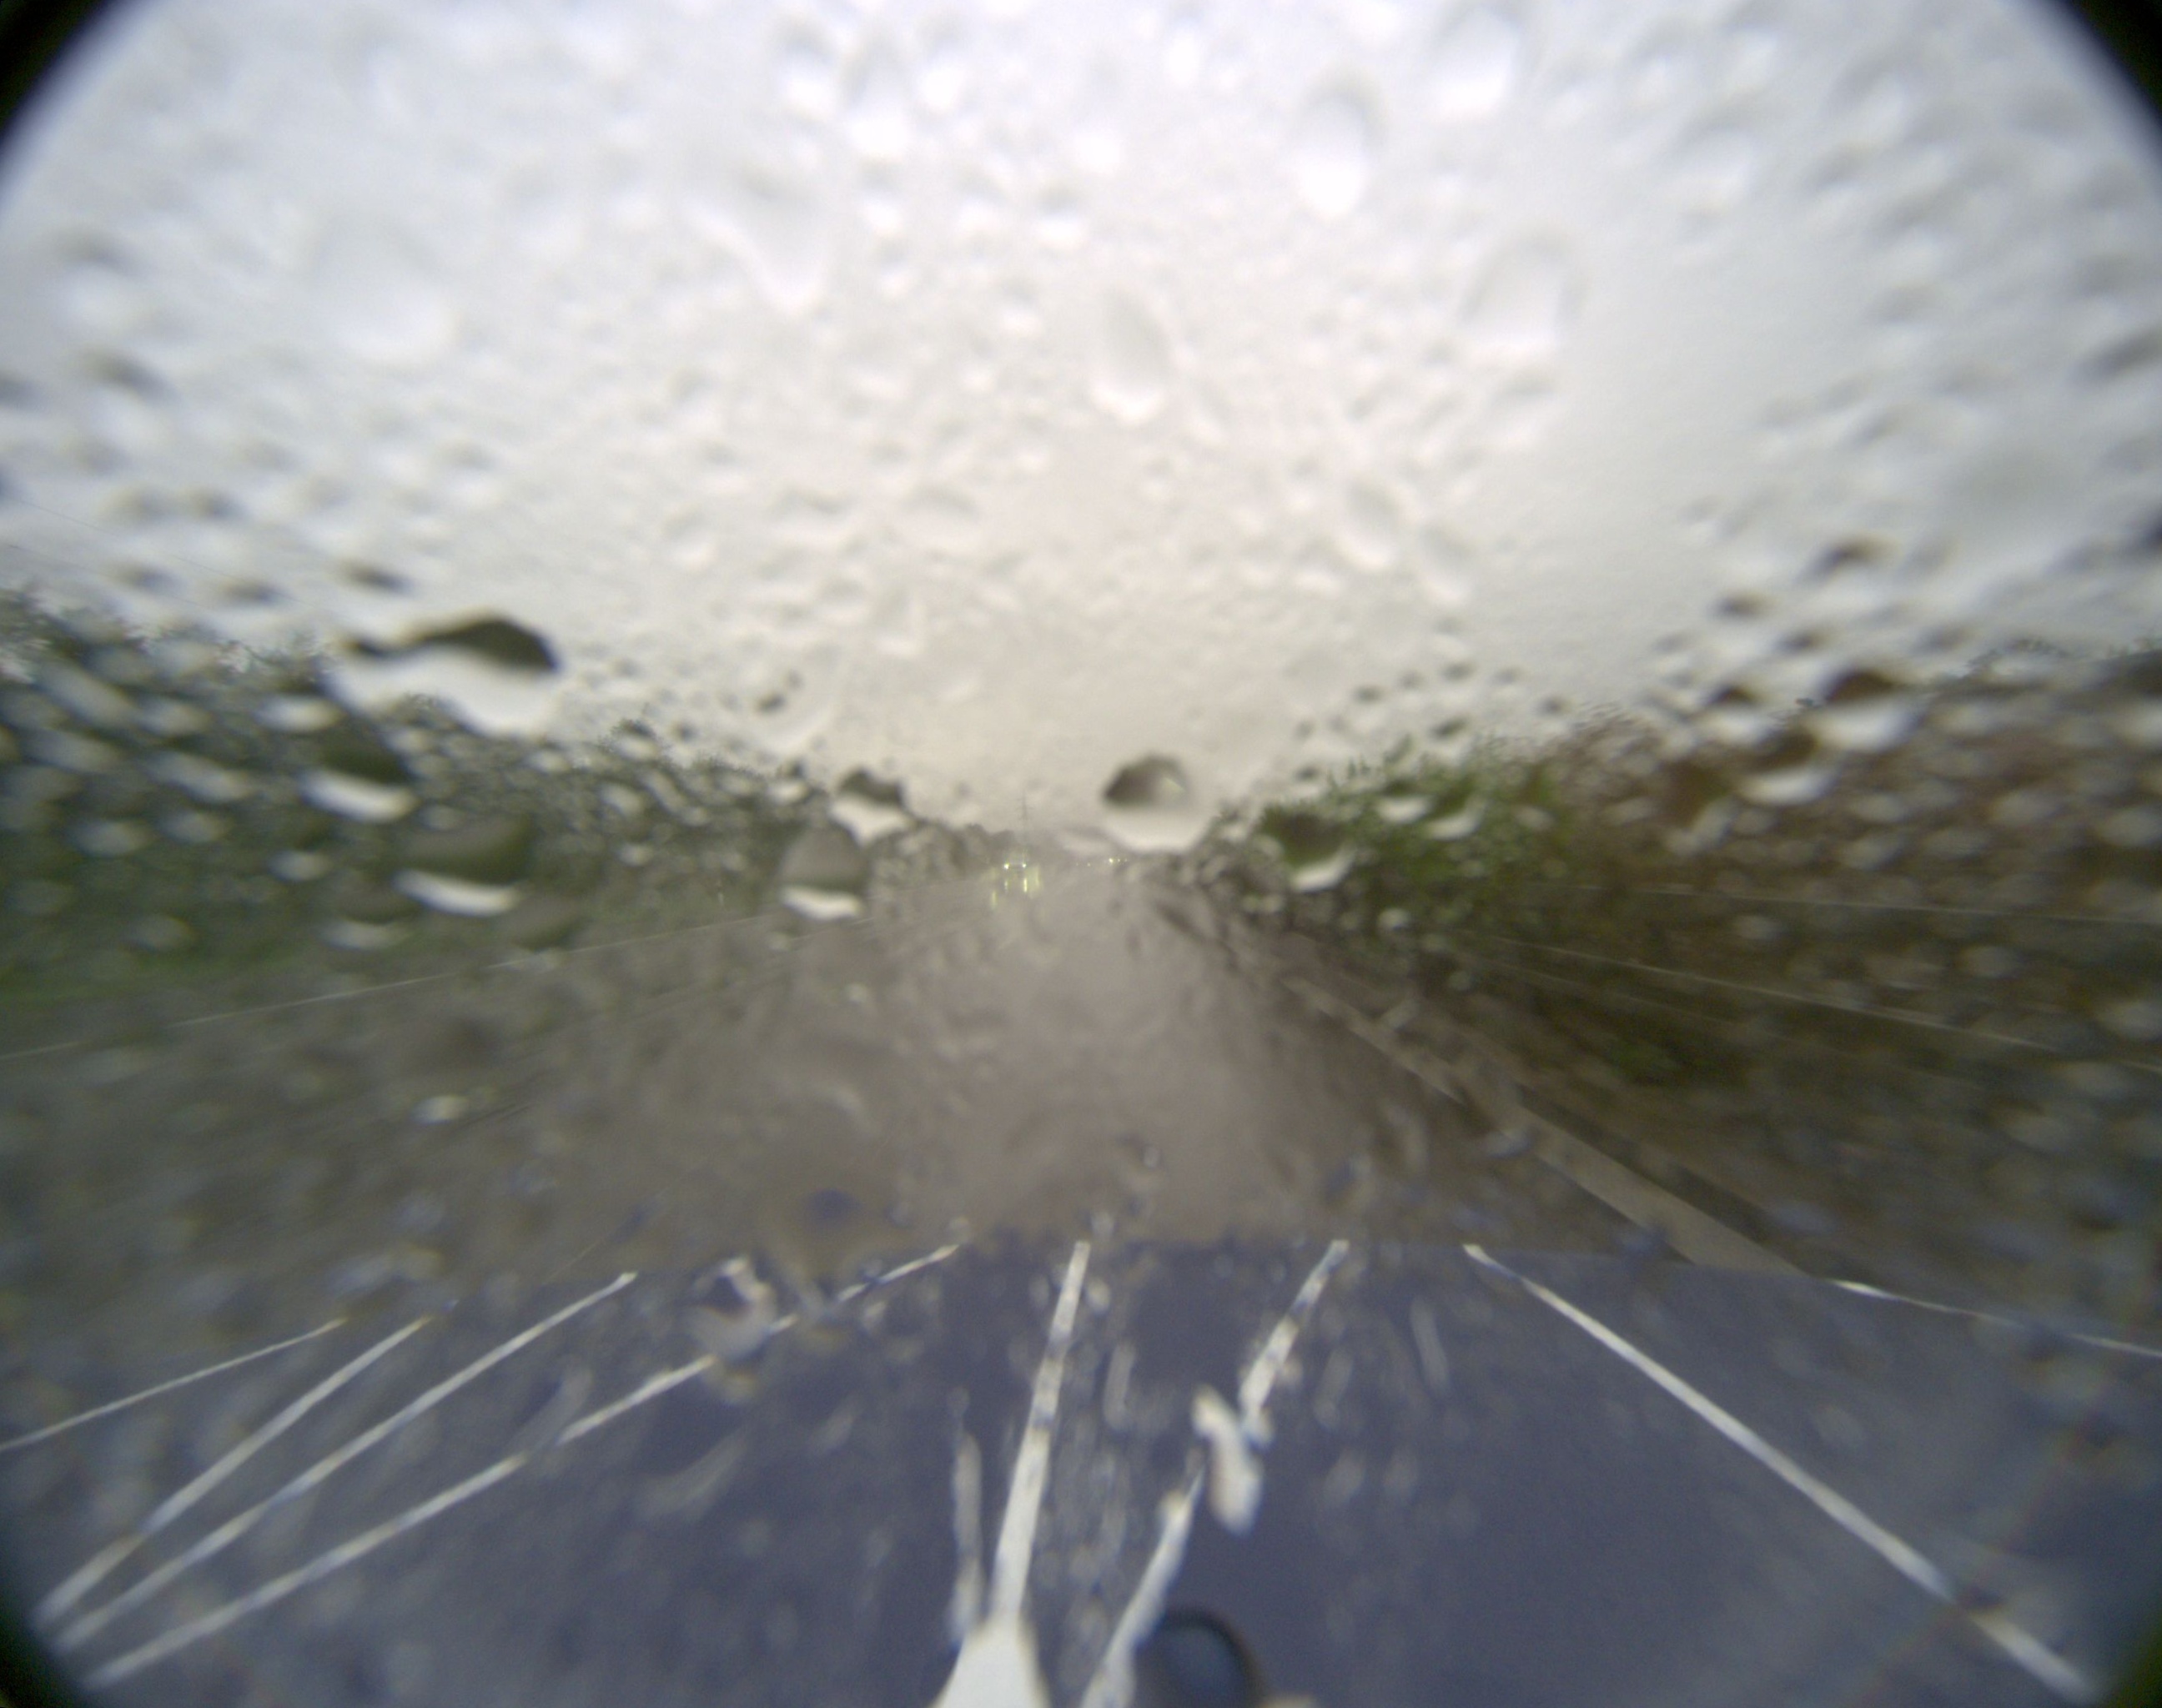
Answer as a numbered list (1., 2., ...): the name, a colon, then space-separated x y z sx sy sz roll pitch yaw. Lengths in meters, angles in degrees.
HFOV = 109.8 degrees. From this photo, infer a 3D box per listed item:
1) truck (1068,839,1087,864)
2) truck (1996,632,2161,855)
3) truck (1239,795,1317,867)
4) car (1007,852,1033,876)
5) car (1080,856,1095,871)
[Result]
1. truck: -0.636 -0.475 146.037 3.135 4.641 11.405 -2 0 2
2. truck: 16.977 -1.649 10.382 2.438 3.237 5.319 -2 0 -1
3. truck: 18.652 -1.980 73.541 4.122 6.089 16.006 -2 0 4
4. car: -5.422 0.916 67.983 1.999 2.002 4.000 -3 0 0
5. car: 0.893 1.297 109.290 1.998 2.002 4.000 -2 0 2
